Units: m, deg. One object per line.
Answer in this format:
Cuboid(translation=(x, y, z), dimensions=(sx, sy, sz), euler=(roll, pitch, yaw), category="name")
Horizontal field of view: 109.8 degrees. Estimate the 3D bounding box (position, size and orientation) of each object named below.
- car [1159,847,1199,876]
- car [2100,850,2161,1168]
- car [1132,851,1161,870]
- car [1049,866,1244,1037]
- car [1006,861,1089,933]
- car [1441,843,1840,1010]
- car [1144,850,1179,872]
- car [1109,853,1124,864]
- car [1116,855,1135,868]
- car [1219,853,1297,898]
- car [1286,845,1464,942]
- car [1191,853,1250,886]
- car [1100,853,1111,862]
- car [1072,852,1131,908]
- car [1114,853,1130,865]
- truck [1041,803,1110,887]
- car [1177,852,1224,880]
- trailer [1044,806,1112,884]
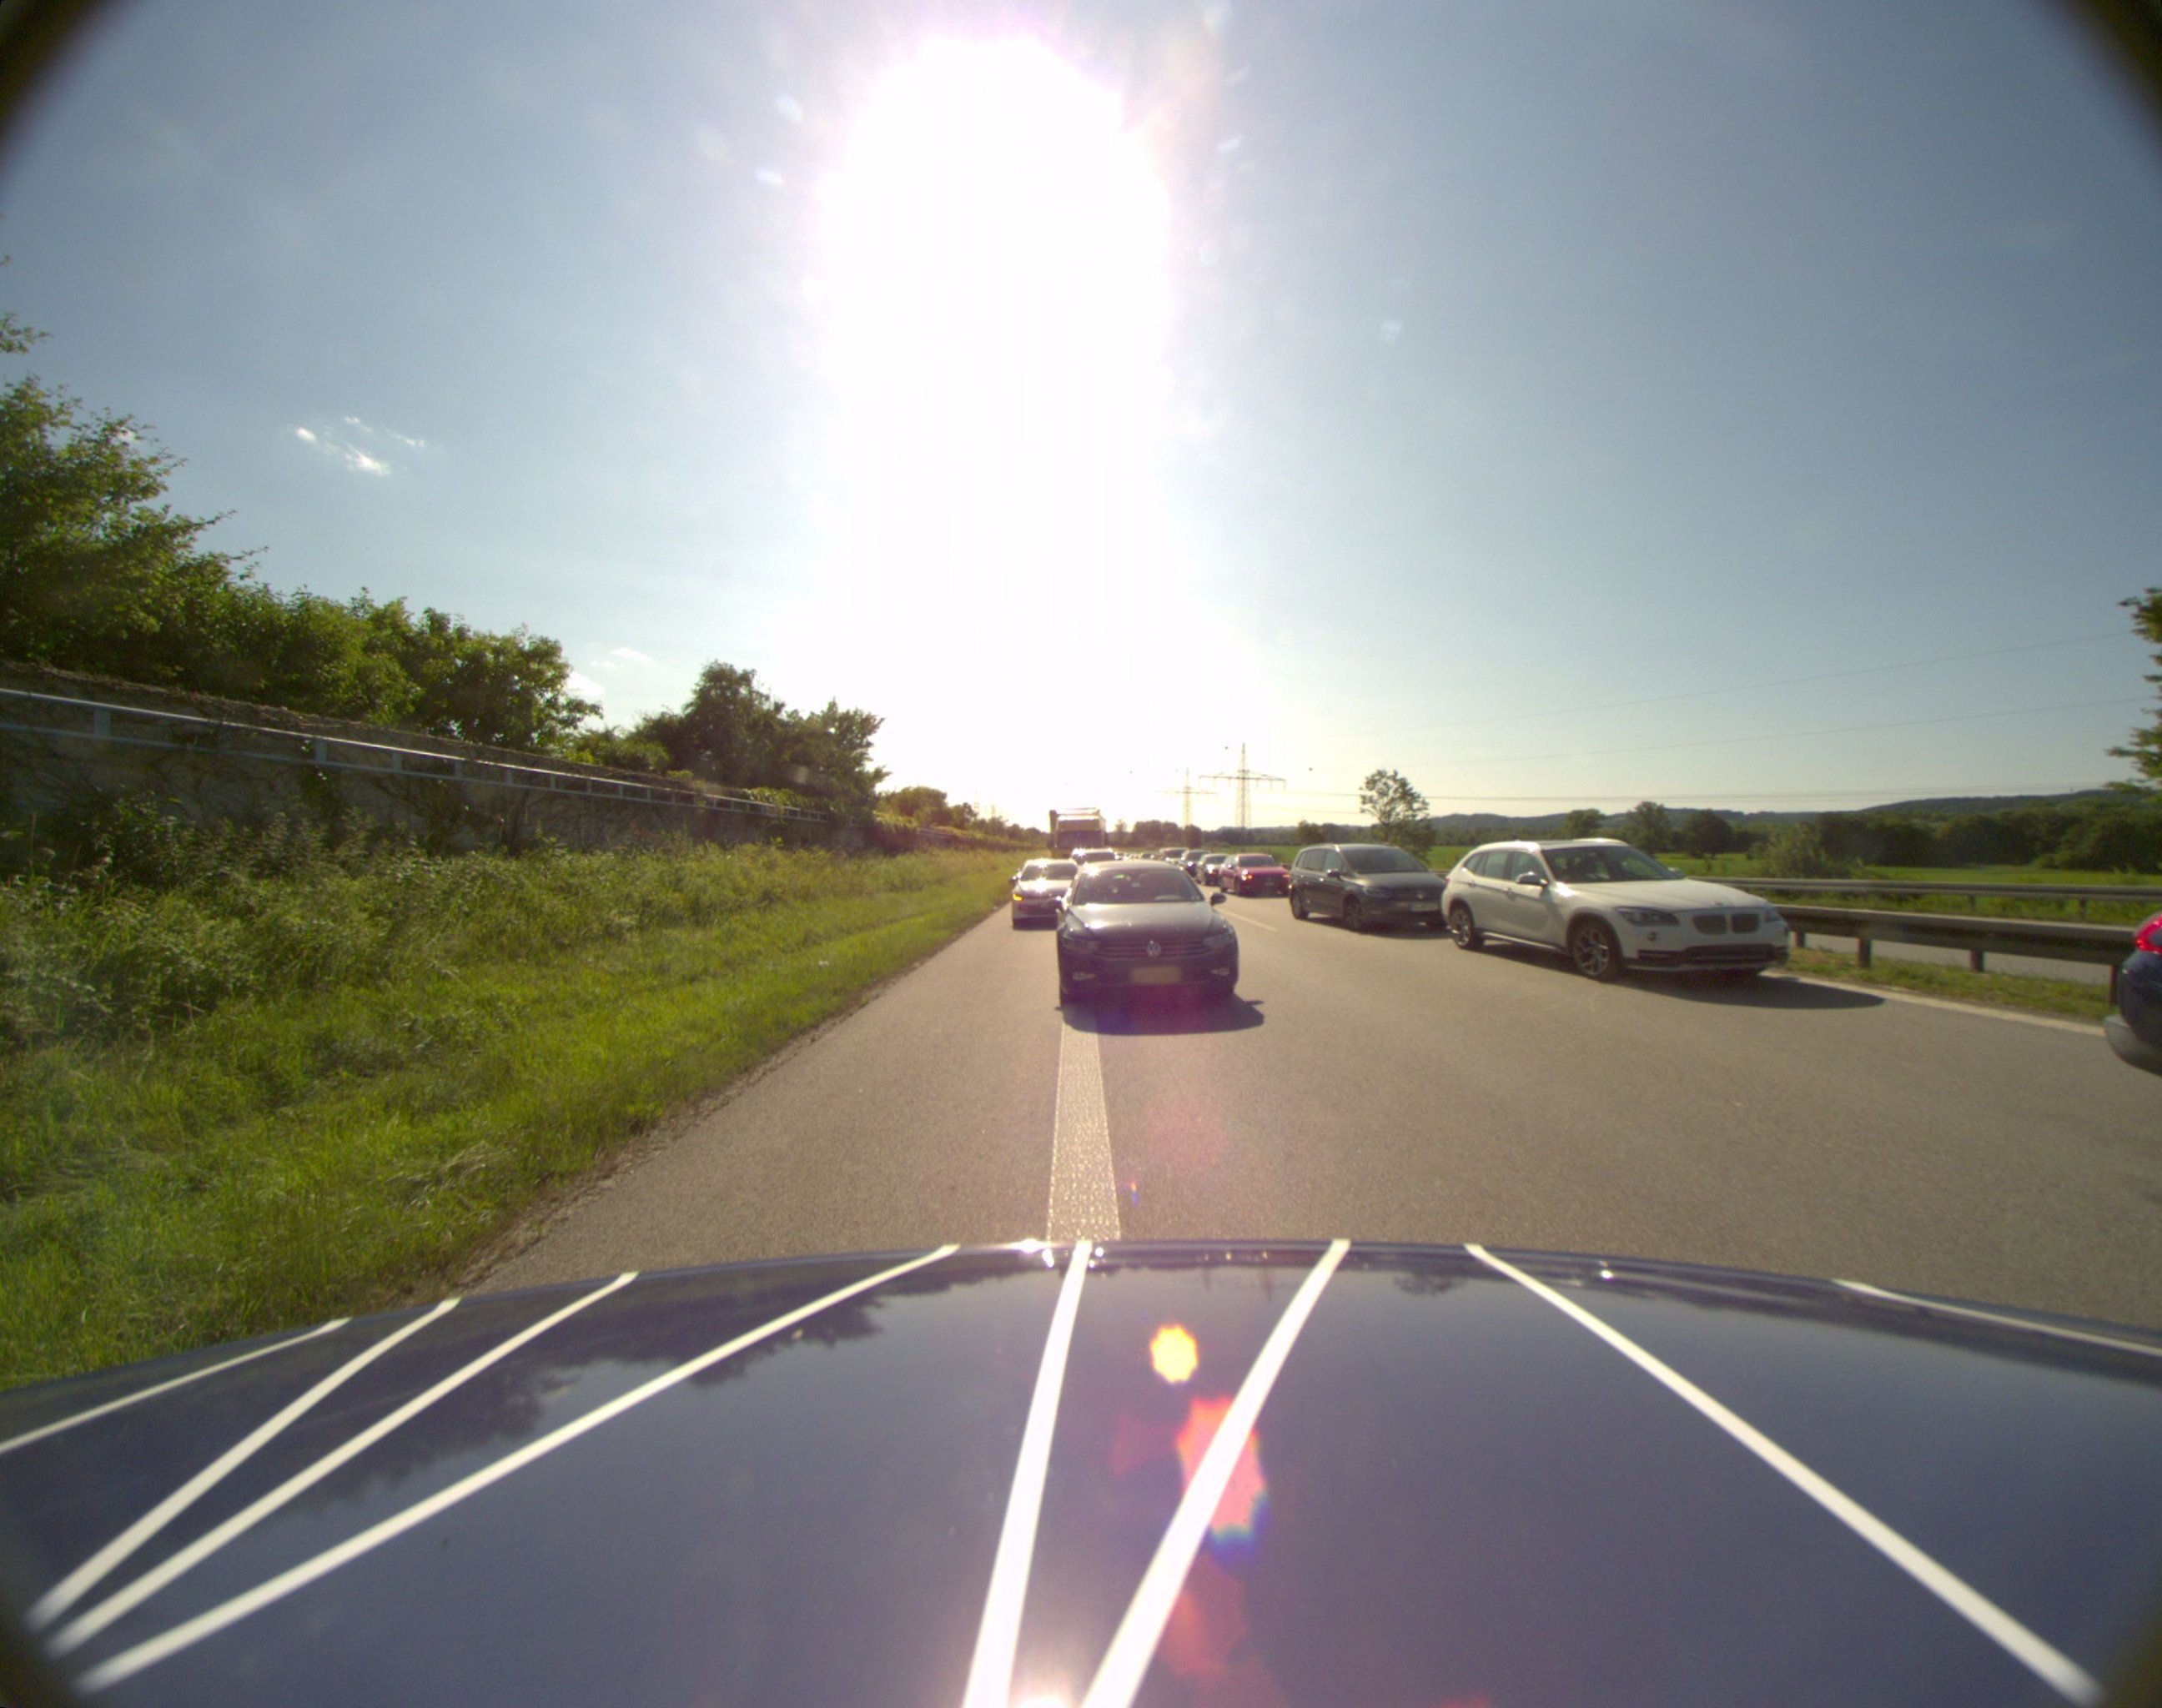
Cuboid(translation=(6.194, 0.441, 48.465), dimensions=(1.902, 1.777, 4.199), euler=(0, 0, -2), category="car")
Cuboid(translation=(6.161, 0.726, 1.946), dimensions=(1.692, 1.526, 3.947), euler=(-2, 0, -4), category="car")
Cuboid(translation=(5.581, 0.542, 64.921), dimensions=(1.999, 1.522, 3.999), euler=(-1, 0, -1), category="car")
Cuboid(translation=(0.576, 0.920, 9.038), dimensions=(1.717, 1.405, 4.325), euler=(-2, 0, -1), category="car")
Cuboid(translation=(-0.732, 0.932, 18.360), dimensions=(1.717, 1.417, 4.325), euler=(-2, 0, -1), category="car")
Cuboid(translation=(6.360, 0.688, 9.366), dimensions=(1.832, 1.564, 4.163), euler=(-1, 0, 0), category="car")
Cuboid(translation=(5.859, 0.485, 55.632), dimensions=(1.999, 1.522, 3.999), euler=(-1, 0, -1), category="car")
Cuboid(translation=(4.841, 0.622, 104.125), dimensions=(1.820, 1.450, 4.117), euler=(-2, 0, -1), category="car")
Cuboid(translation=(4.970, 0.810, 85.006), dimensions=(1.820, 1.450, 4.117), euler=(0, 0, -1), category="car")
Cuboid(translation=(6.147, 0.706, 26.802), dimensions=(1.819, 1.450, 4.117), euler=(0, 0, 0), category="car")
Cuboid(translation=(5.590, 0.670, 15.063), dimensions=(1.820, 1.607, 4.116), euler=(-2, 0, -2), category="car")
Cuboid(translation=(6.455, 0.677, 35.510), dimensions=(1.895, 1.390, 3.999), euler=(-1, 0, -2), category="car")
Cuboid(translation=(4.123, 0.638, 130.133), dimensions=(1.819, 1.450, 4.117), euler=(0, 0, 0), category="car")
Cuboid(translation=(0.597, 0.760, 24.842), dimensions=(1.717, 1.614, 4.325), euler=(-2, 0, -1), category="car")
Cuboid(translation=(5.148, 0.576, 95.703), dimensions=(1.820, 1.450, 4.117), euler=(0, 0, 0), category="car")
Cuboid(translation=(-0.203, -0.484, 41.670), dimensions=(3.333, 4.089, 6.969), euler=(-2, 1, 1), category="truck")
Cuboid(translation=(6.463, 0.625, 41.601), dimensions=(1.894, 1.446, 3.999), euler=(-1, 0, -1), category="car")
Cuboid(translation=(0.103, -0.569, 47.772), dimensions=(3.387, 4.089, 13.953), euler=(-2, 1, 3), category="trailer")
